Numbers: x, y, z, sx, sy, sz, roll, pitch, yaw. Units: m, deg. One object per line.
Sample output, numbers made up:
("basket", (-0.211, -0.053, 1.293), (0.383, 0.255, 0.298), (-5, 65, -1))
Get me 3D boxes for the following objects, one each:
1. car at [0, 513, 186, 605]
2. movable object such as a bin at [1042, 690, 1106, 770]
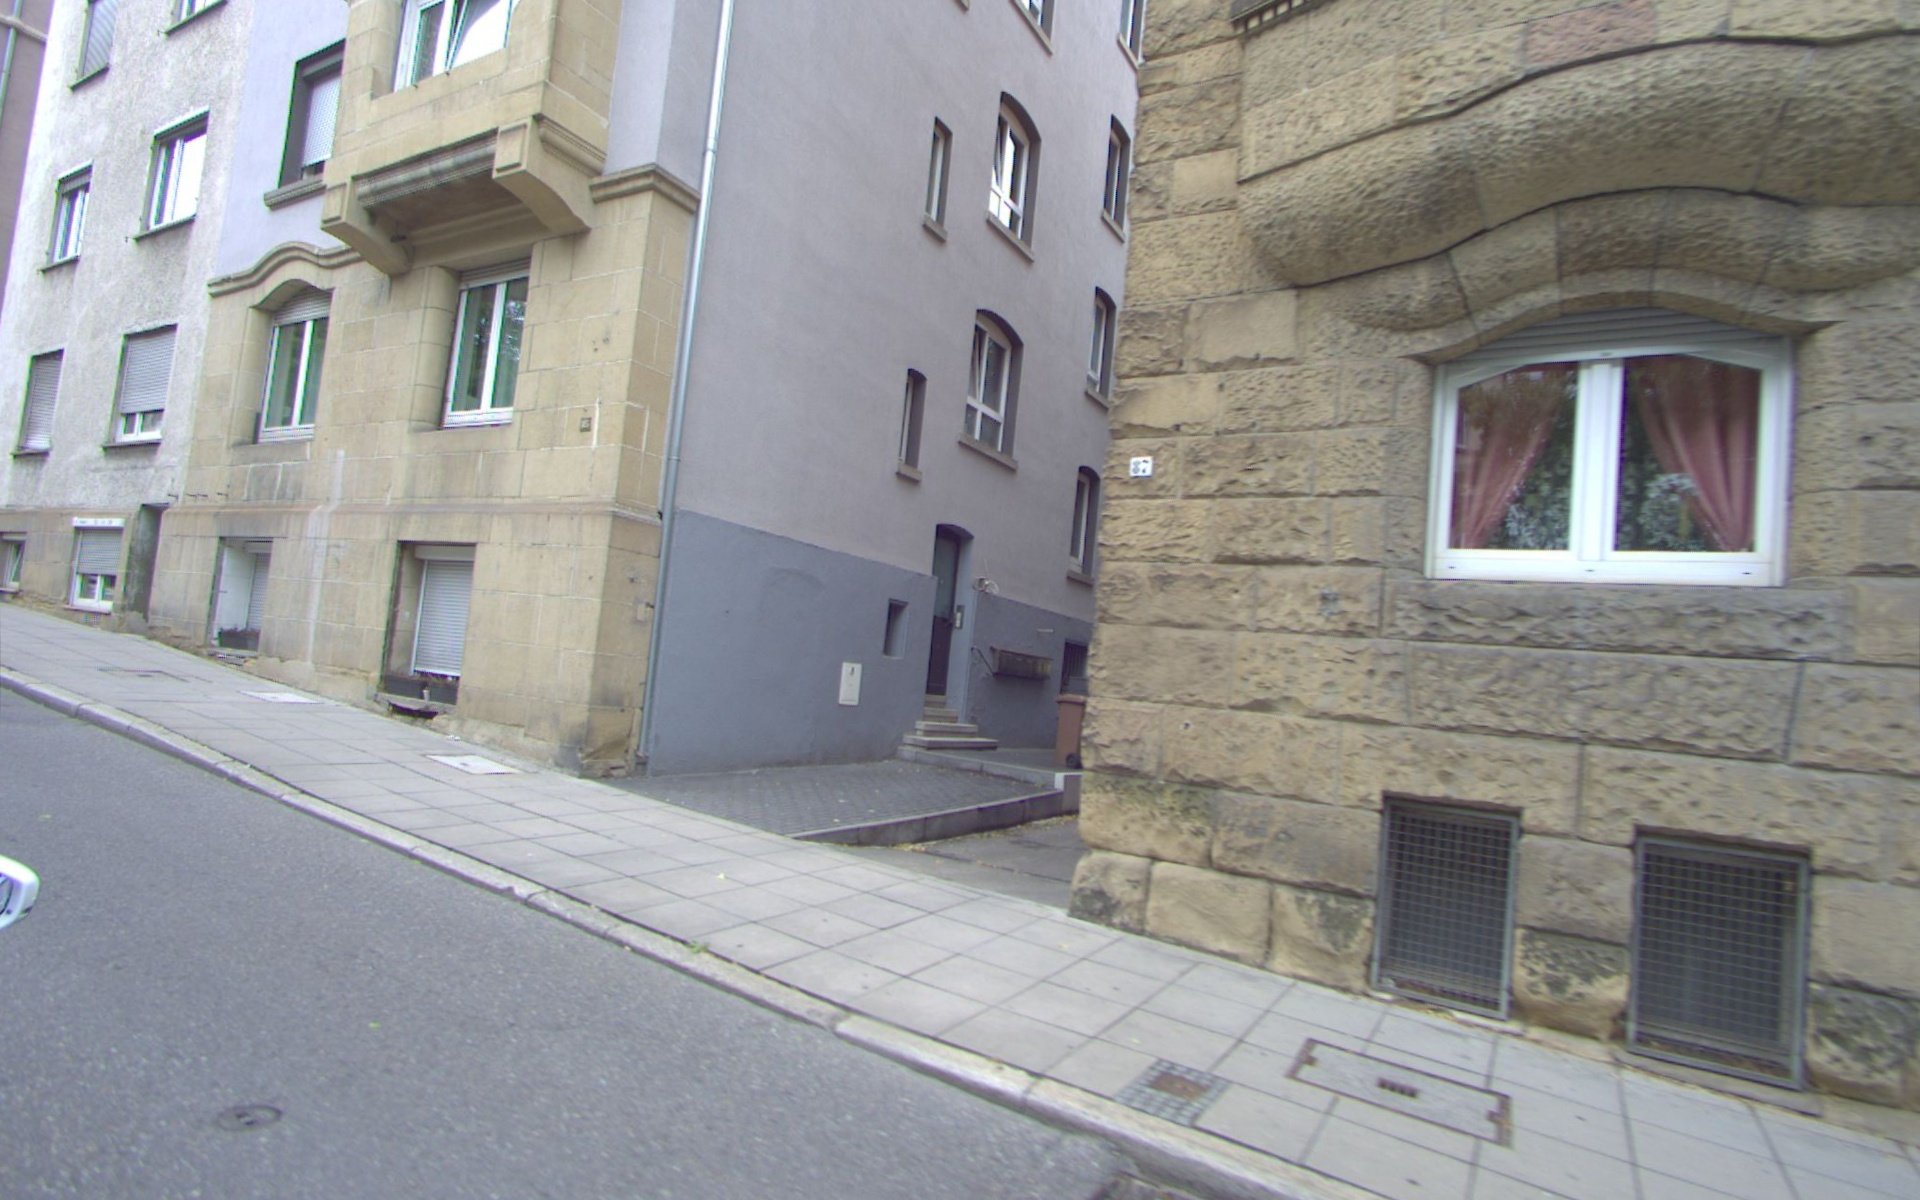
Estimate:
("car", (-19.827, -0.963, 22.077), (1.770, 1.418, 3.998), (9, -2, 32))
("movable object such as a bin", (1.481, 1.690, 13.064), (0.541, 0.943, 0.537), (5, -5, 33))
